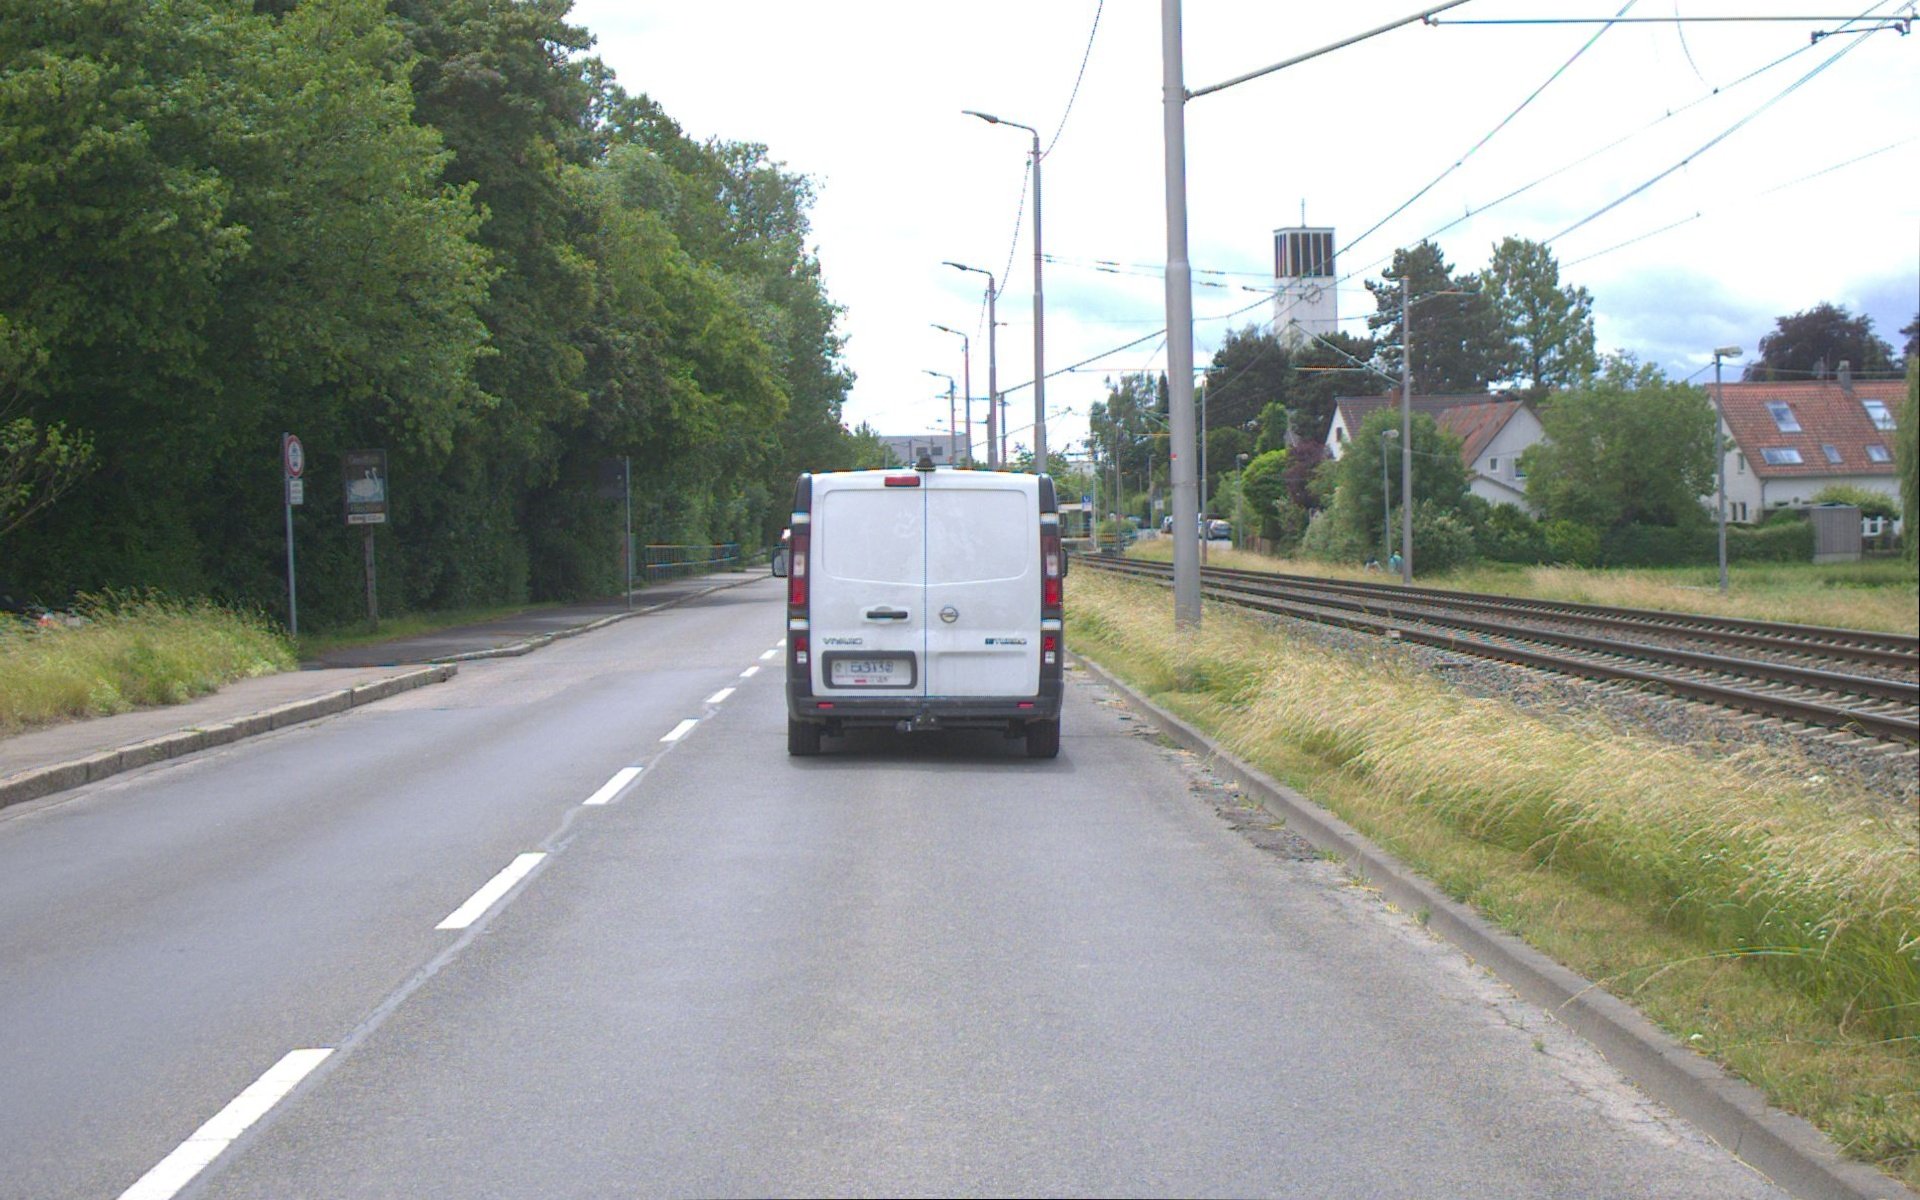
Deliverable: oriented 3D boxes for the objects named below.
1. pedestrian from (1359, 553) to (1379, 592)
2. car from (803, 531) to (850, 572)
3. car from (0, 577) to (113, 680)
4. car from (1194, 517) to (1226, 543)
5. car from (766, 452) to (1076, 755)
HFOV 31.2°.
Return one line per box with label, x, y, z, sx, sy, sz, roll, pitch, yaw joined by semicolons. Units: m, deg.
pedestrian;15.934;-1.075;134.002;0.656;1.501;0.657;-1;1;-1
car;-5.757;-2.077;148.053;1.993;1.711;4.124;-1;1;-2
car;-13.599;0.440;46.103;3.987;1.294;1.745;-3;1;1
car;18.744;-5.217;257.731;1.993;1.810;4.000;1;0;-2
car;-0.317;-0.003;24.296;1.993;1.950;4.000;0;1;-2
